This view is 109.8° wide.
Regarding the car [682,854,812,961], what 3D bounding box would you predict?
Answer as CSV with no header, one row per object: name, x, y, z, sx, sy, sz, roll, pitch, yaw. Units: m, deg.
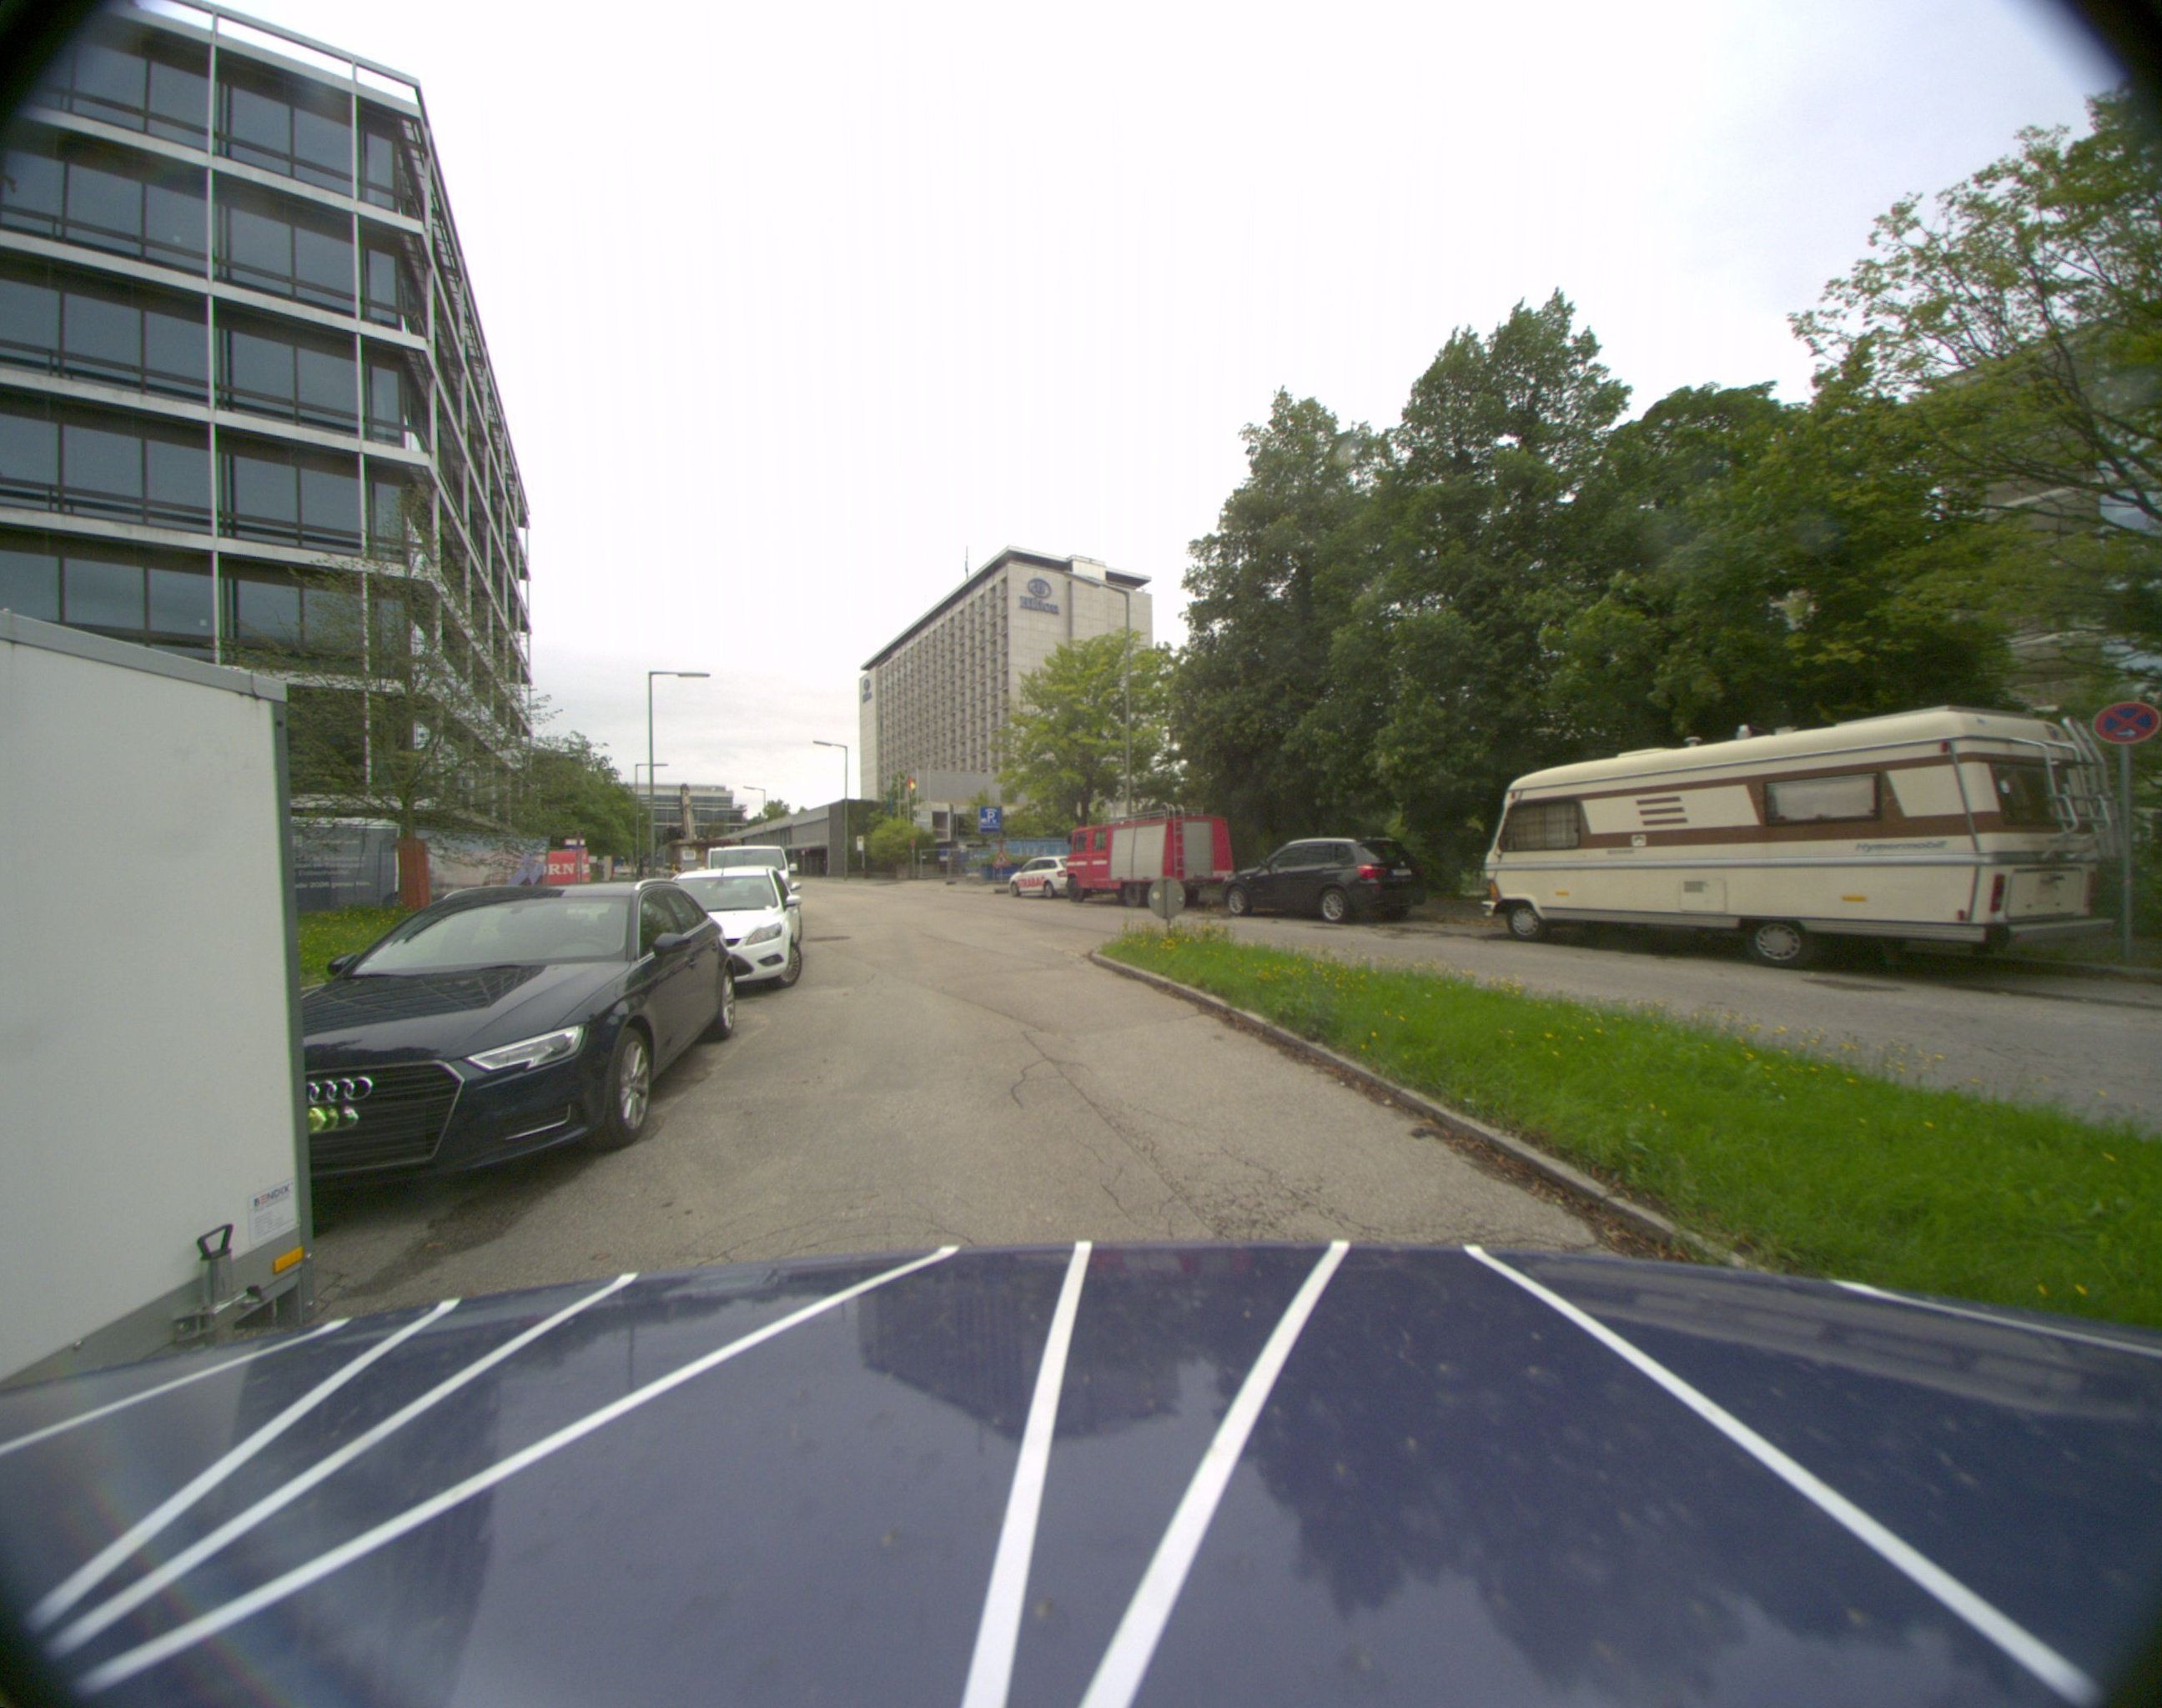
car,-6.570,0.887,14.995,2.002,1.718,4.440,-1,1,-24

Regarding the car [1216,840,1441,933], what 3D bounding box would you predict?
car,4.965,0.584,15.911,1.784,1.640,4.450,-1,0,-29

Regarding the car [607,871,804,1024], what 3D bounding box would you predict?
car,-4.745,1.020,10.192,1.774,1.477,4.214,-1,0,-18

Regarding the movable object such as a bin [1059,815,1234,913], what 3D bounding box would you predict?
movable object such as a bin,1.640,0.249,22.125,2.114,2.444,6.173,-1,0,-27

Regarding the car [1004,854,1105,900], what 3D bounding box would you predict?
car,-1.062,0.795,28.083,1.785,1.540,4.246,-1,0,-33

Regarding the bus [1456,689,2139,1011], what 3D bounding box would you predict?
bus,7.889,-0.031,9.434,2.325,2.683,5.724,-1,0,-21

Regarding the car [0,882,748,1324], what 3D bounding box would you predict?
car,-3.592,0.971,4.999,1.879,1.428,4.323,0,0,-14

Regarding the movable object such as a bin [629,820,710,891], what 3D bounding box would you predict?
movable object such as a bin,-23.767,0.045,44.380,3.255,3.695,8.989,-1,1,-23

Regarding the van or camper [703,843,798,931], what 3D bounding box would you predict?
van or camper,-8.877,0.738,20.194,2.003,2.002,5.365,-1,1,-26
